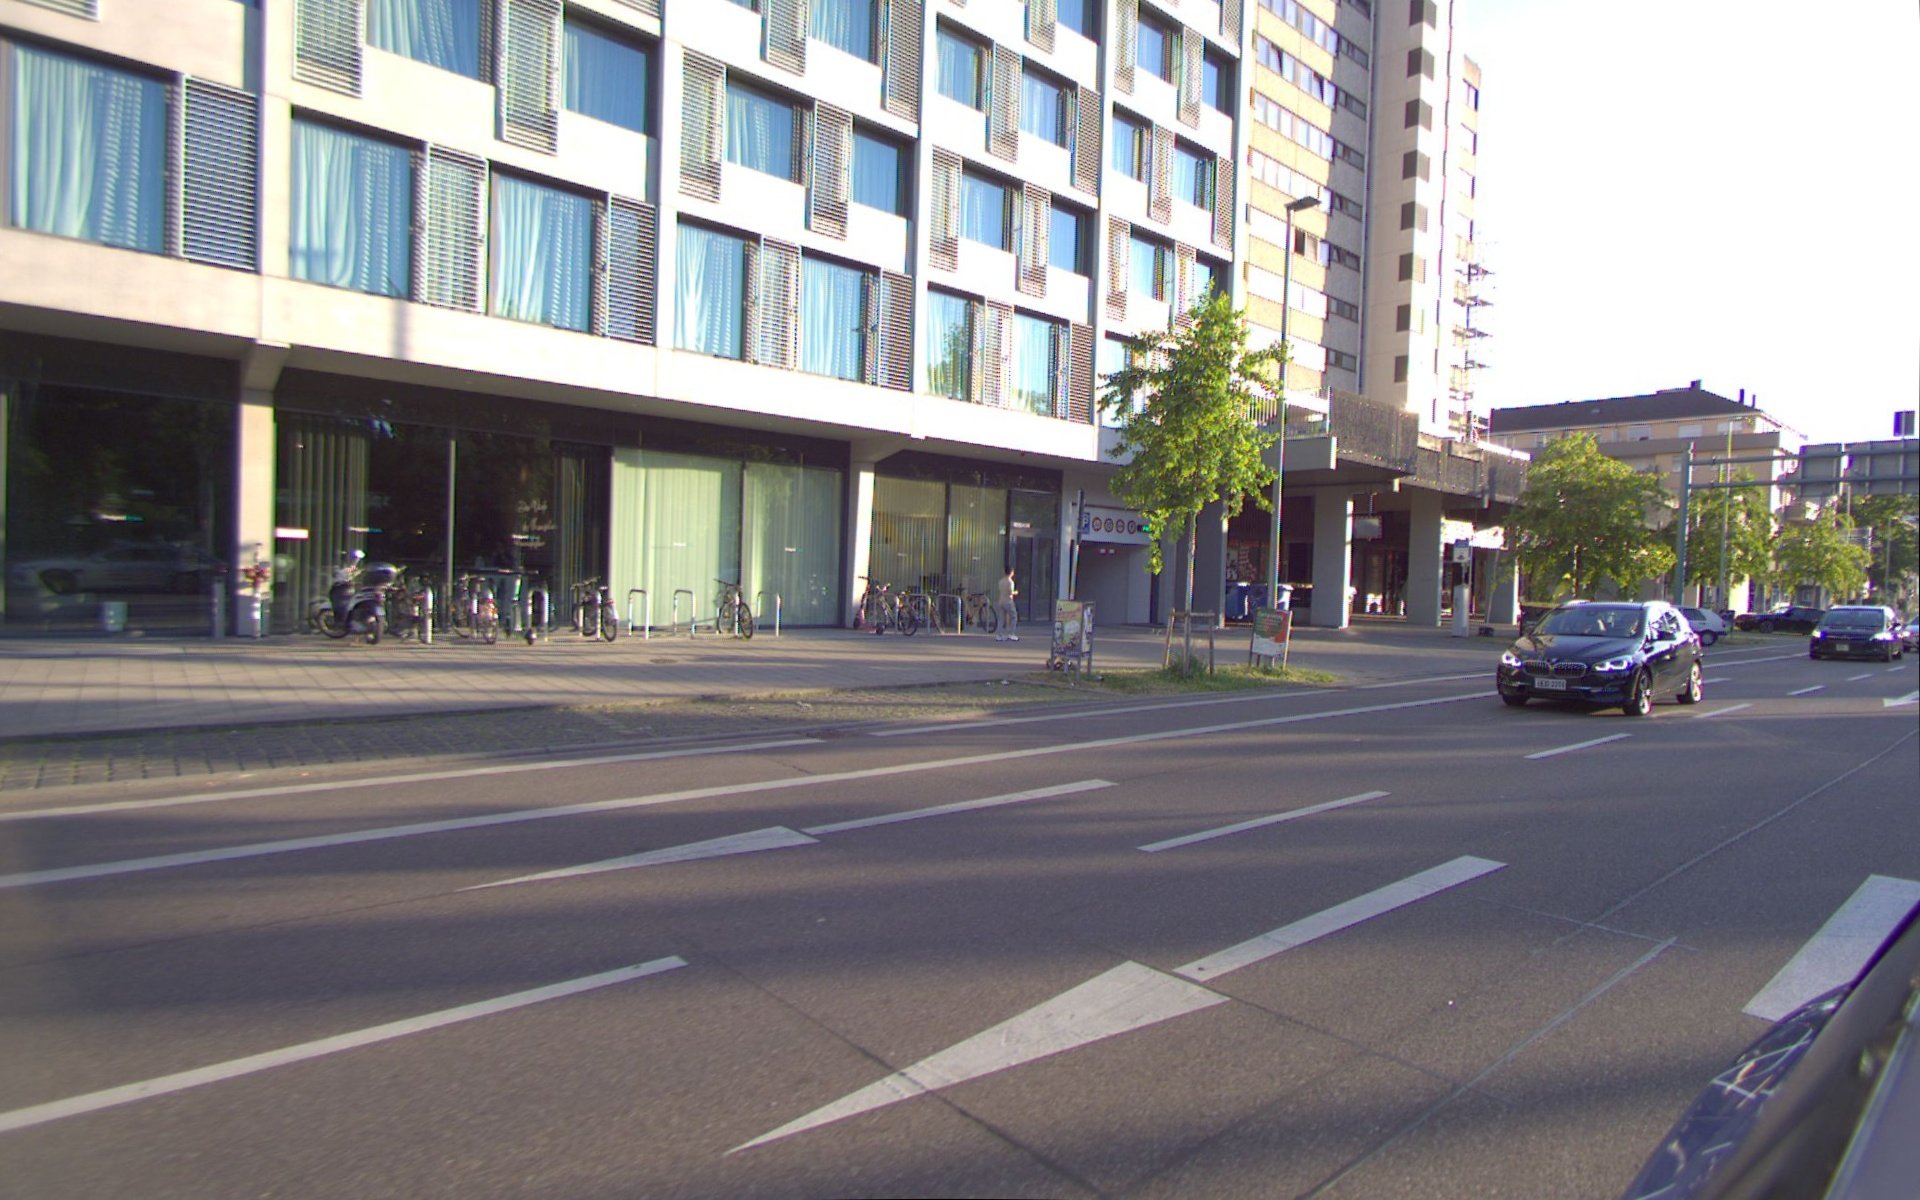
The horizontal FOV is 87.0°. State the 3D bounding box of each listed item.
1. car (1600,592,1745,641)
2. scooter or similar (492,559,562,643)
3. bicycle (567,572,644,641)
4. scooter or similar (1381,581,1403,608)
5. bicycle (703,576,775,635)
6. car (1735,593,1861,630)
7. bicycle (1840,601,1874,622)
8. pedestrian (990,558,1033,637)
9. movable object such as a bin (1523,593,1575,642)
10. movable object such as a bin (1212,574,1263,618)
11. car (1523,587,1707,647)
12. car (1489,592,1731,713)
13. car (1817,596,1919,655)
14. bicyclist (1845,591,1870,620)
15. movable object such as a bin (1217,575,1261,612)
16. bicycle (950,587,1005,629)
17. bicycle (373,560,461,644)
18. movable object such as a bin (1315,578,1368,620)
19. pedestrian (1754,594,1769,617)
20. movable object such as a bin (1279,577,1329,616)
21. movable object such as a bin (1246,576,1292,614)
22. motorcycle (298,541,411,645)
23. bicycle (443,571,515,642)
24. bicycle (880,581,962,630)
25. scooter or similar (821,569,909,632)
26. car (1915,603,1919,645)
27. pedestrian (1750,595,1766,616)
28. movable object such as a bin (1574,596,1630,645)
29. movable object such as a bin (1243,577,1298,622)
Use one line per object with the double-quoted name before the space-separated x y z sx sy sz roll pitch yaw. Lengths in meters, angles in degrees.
"car" 26.452 0.590 37.702 3.930 1.433 1.746 4 3 12
"scooter or similar" -7.023 -0.001 16.388 0.598 1.248 1.269 1 3 -44
"bicycle" -6.199 0.085 17.639 0.556 1.022 1.889 1 4 -42
"scooter or similar" 19.619 -0.238 45.934 0.400 1.176 1.804 0 -1 40
"bicycle" -4.253 0.088 19.403 0.541 0.998 1.702 1 3 -43
"car" 42.560 0.556 51.483 4.532 1.471 1.810 4 2 9
"bicycle" 55.101 0.681 62.197 0.810 1.187 2.133 3 2 21
"pedestrian" 1.106 -0.051 21.736 0.632 1.638 0.577 1 3 -43
"movable object such as a bin" 17.718 0.511 30.426 1.015 1.363 1.142 6 4 45
"movable object such as a bin" 9.010 -0.129 32.907 1.181 1.346 1.076 1 2 -41
"car" 21.547 0.517 33.503 4.596 1.526 1.935 4 3 11
"car" 9.916 0.684 15.283 4.707 1.538 1.824 1 0 -41
"car" 27.515 0.732 30.503 4.288 1.619 1.827 1 0 -39
"bicyclist" 55.091 0.327 62.124 0.810 1.713 0.954 3 2 22
"movable object such as a bin" 10.445 -0.254 37.887 1.069 1.329 1.184 1 2 -42
"bicycle" 0.396 0.178 23.682 0.449 0.902 1.424 1 2 -41
"bicycle" -8.548 0.009 15.902 1.604 1.168 0.604 5 3 38
"movable object such as a bin" 13.186 -0.043 34.976 1.245 1.338 1.184 1 4 -42
"pedestrian" 64.723 0.434 81.731 0.534 1.882 0.839 0 2 -40
"movable object such as a bin" 12.227 -0.139 35.957 1.282 1.315 1.184 1 2 -42
"movable object such as a bin" 11.279 -0.196 36.951 1.105 1.329 1.184 1 2 -42
"motorcycle" -9.158 -0.136 15.261 2.106 1.403 0.663 5 2 36
"bicycle" -7.764 0.082 16.298 0.541 0.998 1.702 1 3 -43
"bicycle" -0.897 0.099 23.023 2.016 0.969 0.611 5 3 44
"scooter or similar" -2.106 -0.017 22.040 0.610 1.197 2.378 1 3 -40
"car" 35.924 0.861 36.485 4.228 1.482 1.831 1 0 -41
"pedestrian" 65.011 0.448 82.427 0.753 1.635 0.821 0 2 -39
"movable object such as a bin" 18.722 0.587 29.510 1.085 1.317 1.340 6 4 43
"movable object such as a bin" 9.868 -0.025 32.134 1.261 1.346 1.107 1 3 -41
